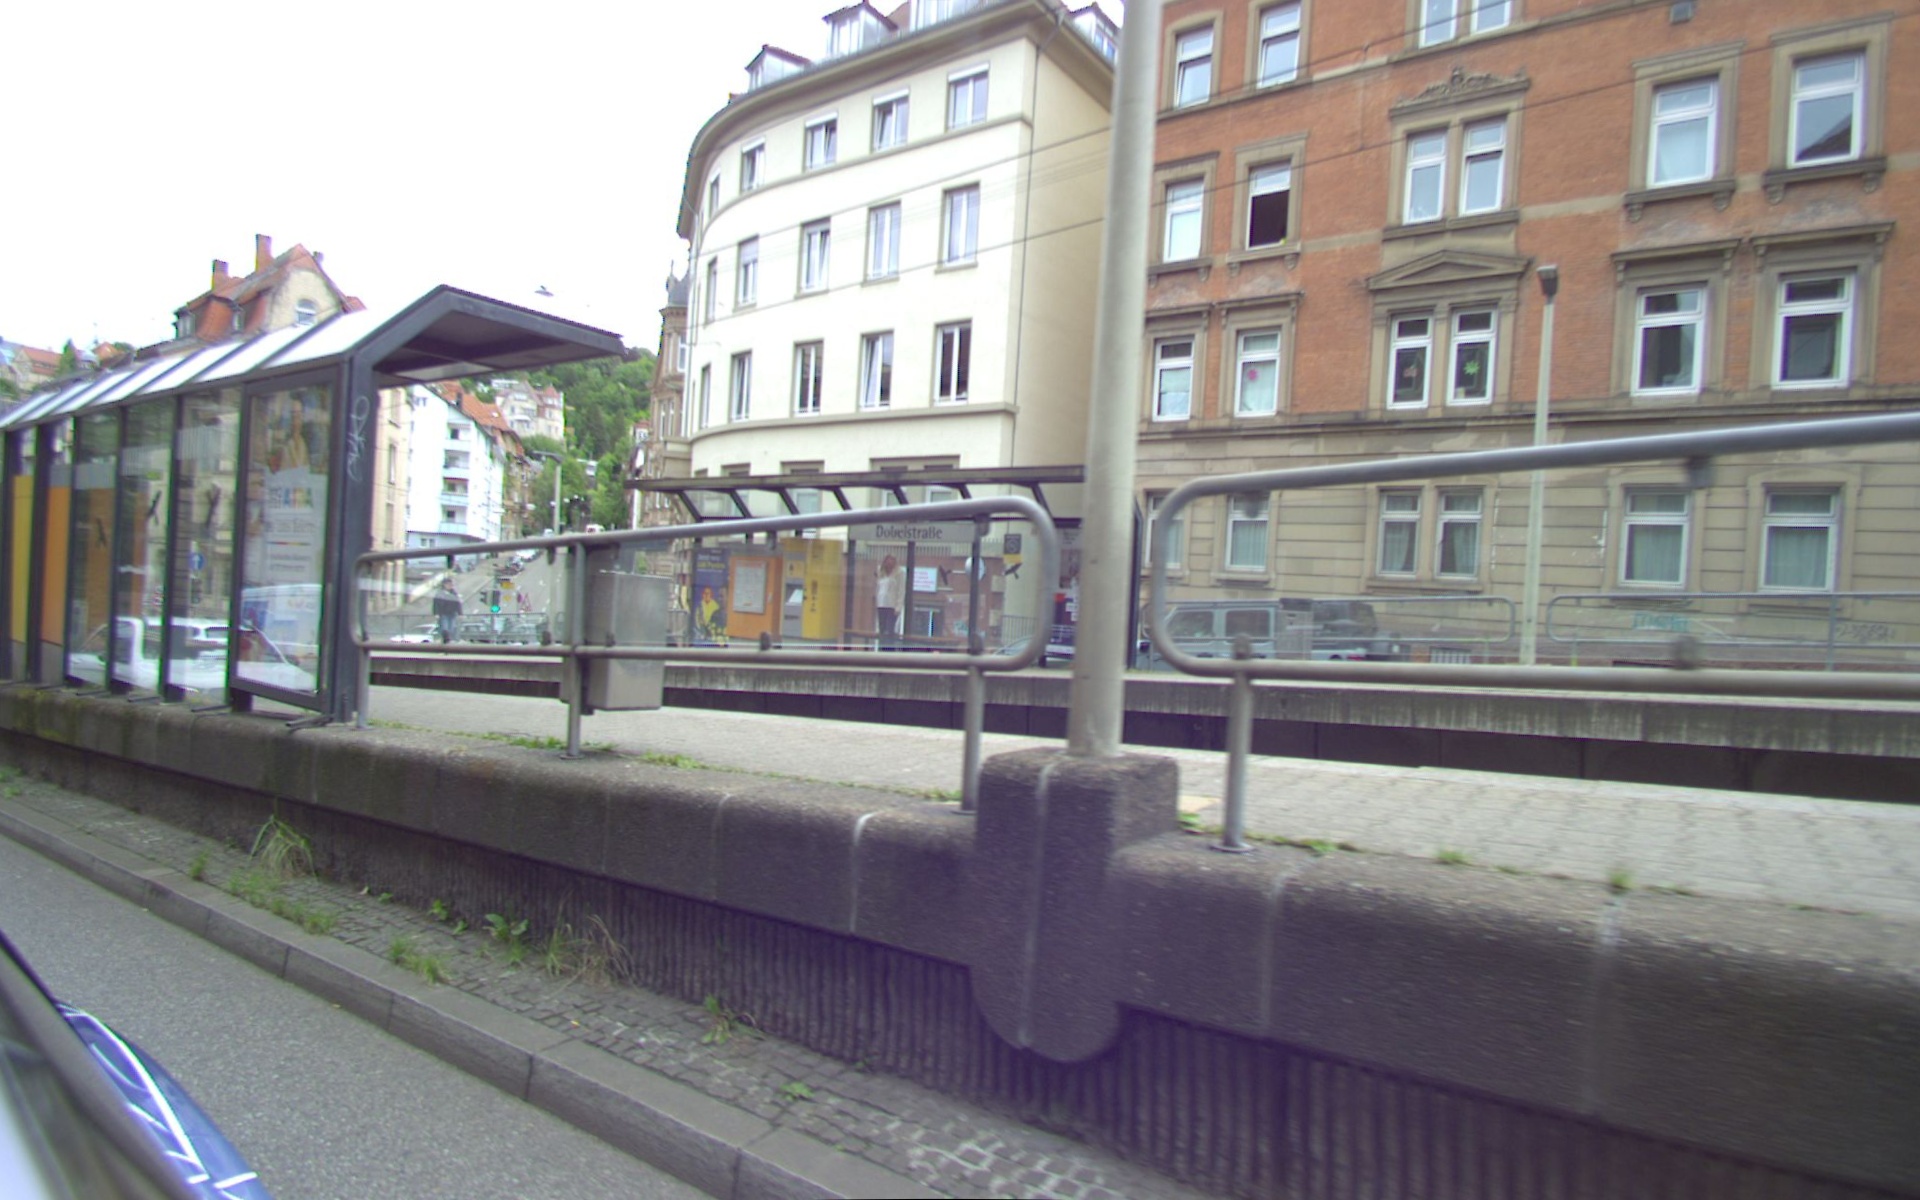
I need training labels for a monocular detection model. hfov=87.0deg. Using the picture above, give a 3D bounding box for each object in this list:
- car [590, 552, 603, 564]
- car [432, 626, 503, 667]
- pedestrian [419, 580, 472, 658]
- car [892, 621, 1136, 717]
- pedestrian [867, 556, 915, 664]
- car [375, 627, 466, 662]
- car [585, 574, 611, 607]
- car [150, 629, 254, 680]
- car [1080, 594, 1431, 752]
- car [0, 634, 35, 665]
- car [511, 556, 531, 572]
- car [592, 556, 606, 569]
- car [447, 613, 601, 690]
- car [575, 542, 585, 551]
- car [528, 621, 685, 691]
[{"bbox_3d":[-51.127,-5.876,142.423,1.619,1.470,3.321,0,5,-20],"label":"car"},{"bbox_3d":[-21.814,2.033,44.995,1.821,1.747,4.390,0,-2,-12],"label":"car"},{"bbox_3d":[-11.528,0.431,22.673,0.841,1.701,0.758,-2,-2,36],"label":"pedestrian"},{"bbox_3d":[0.973,1.249,19.498,4.404,1.658,1.846,-1,-2,35],"label":"car"},{"bbox_3d":[-1.022,0.153,14.967,0.539,1.574,0.458,-1,-2,35],"label":"pedestrian"},{"bbox_3d":[-27.236,2.239,51.237,1.980,1.723,3.983,-1,-2,13],"label":"car"},{"bbox_3d":[-30.710,-0.814,85.822,1.965,2.495,4.014,0,5,-20],"label":"car"},{"bbox_3d":[-27.624,1.935,36.847,4.371,1.747,1.829,-2,-2,36],"label":"car"},{"bbox_3d":[4.113,0.945,14.373,4.404,1.909,1.976,-1,-2,35],"label":"car"},{"bbox_3d":[-47.695,2.449,50.123,4.369,1.457,1.830,-2,-2,35],"label":"car"},{"bbox_3d":[-53.268,-4.401,122.796,1.910,1.650,4.014,0,5,-20],"label":"car"},{"bbox_3d":[-47.298,-4.935,132.573,1.619,1.453,3.321,0,5,-20],"label":"car"},{"bbox_3d":[-10.903,1.253,25.253,3.855,1.778,1.807,-1,-2,35],"label":"car"},{"bbox_3d":[-64.179,-9.059,171.017,1.619,1.470,3.321,0,5,-20],"label":"car"},{"bbox_3d":[-9.565,1.471,27.246,4.371,1.747,1.829,-2,-2,36],"label":"car"}]
